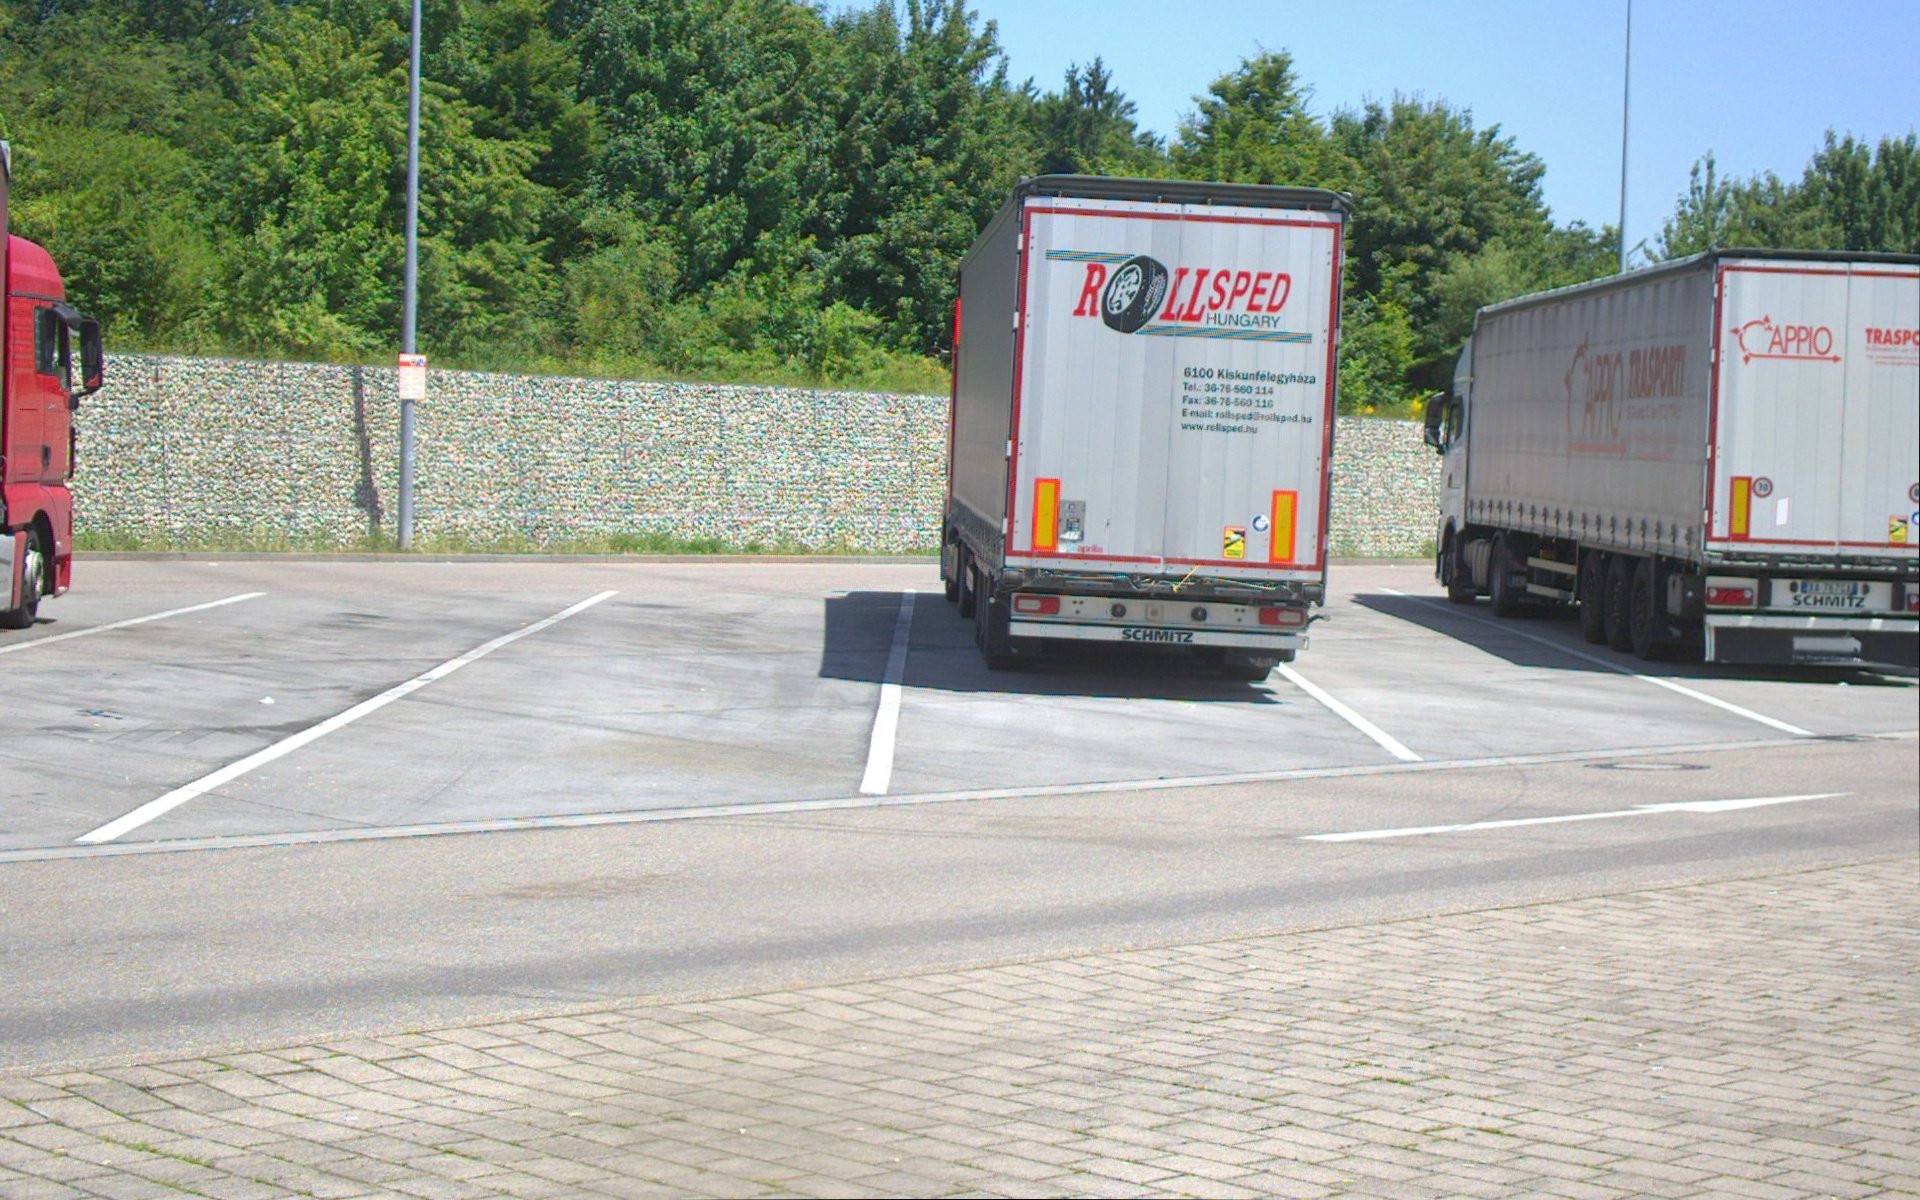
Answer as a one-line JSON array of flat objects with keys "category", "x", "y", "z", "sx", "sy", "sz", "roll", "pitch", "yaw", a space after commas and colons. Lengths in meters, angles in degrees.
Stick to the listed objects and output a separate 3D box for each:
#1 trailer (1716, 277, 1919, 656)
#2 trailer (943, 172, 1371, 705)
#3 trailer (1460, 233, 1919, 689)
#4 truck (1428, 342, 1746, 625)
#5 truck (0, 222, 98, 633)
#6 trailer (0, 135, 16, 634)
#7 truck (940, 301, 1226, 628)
[{"category": "trailer", "x": 11.791, "y": -1.510, "z": 39.398, "sx": 2.858, "sy": 4.095, "sz": 13.765, "roll": 2, "pitch": 3, "yaw": -1}, {"category": "trailer", "x": 1.466, "y": -1.570, "z": 33.130, "sx": 2.858, "sy": 3.958, "sz": 13.765, "roll": 2, "pitch": 3, "yaw": -1}, {"category": "trailer", "x": 8.194, "y": -1.593, "z": 38.385, "sx": 2.858, "sy": 4.095, "sz": 13.765, "roll": 2, "pitch": 3, "yaw": -1}, {"category": "truck", "x": 8.092, "y": -1.574, "z": 45.151, "sx": 2.865, "sy": 3.351, "sz": 5.975, "roll": 2, "pitch": 3, "yaw": -1}, {"category": "truck", "x": -9.244, "y": -1.455, "z": 28.207, "sx": 2.812, "sy": 3.351, "sz": 5.975, "roll": 2, "pitch": 3, "yaw": -1}, {"category": "trailer", "x": -9.155, "y": -1.464, "z": 21.388, "sx": 2.821, "sy": 4.057, "sz": 13.765, "roll": 2, "pitch": 3, "yaw": -1}, {"category": "truck", "x": 1.281, "y": -1.575, "z": 39.332, "sx": 2.865, "sy": 3.351, "sz": 5.975, "roll": 2, "pitch": 3, "yaw": -1}]
